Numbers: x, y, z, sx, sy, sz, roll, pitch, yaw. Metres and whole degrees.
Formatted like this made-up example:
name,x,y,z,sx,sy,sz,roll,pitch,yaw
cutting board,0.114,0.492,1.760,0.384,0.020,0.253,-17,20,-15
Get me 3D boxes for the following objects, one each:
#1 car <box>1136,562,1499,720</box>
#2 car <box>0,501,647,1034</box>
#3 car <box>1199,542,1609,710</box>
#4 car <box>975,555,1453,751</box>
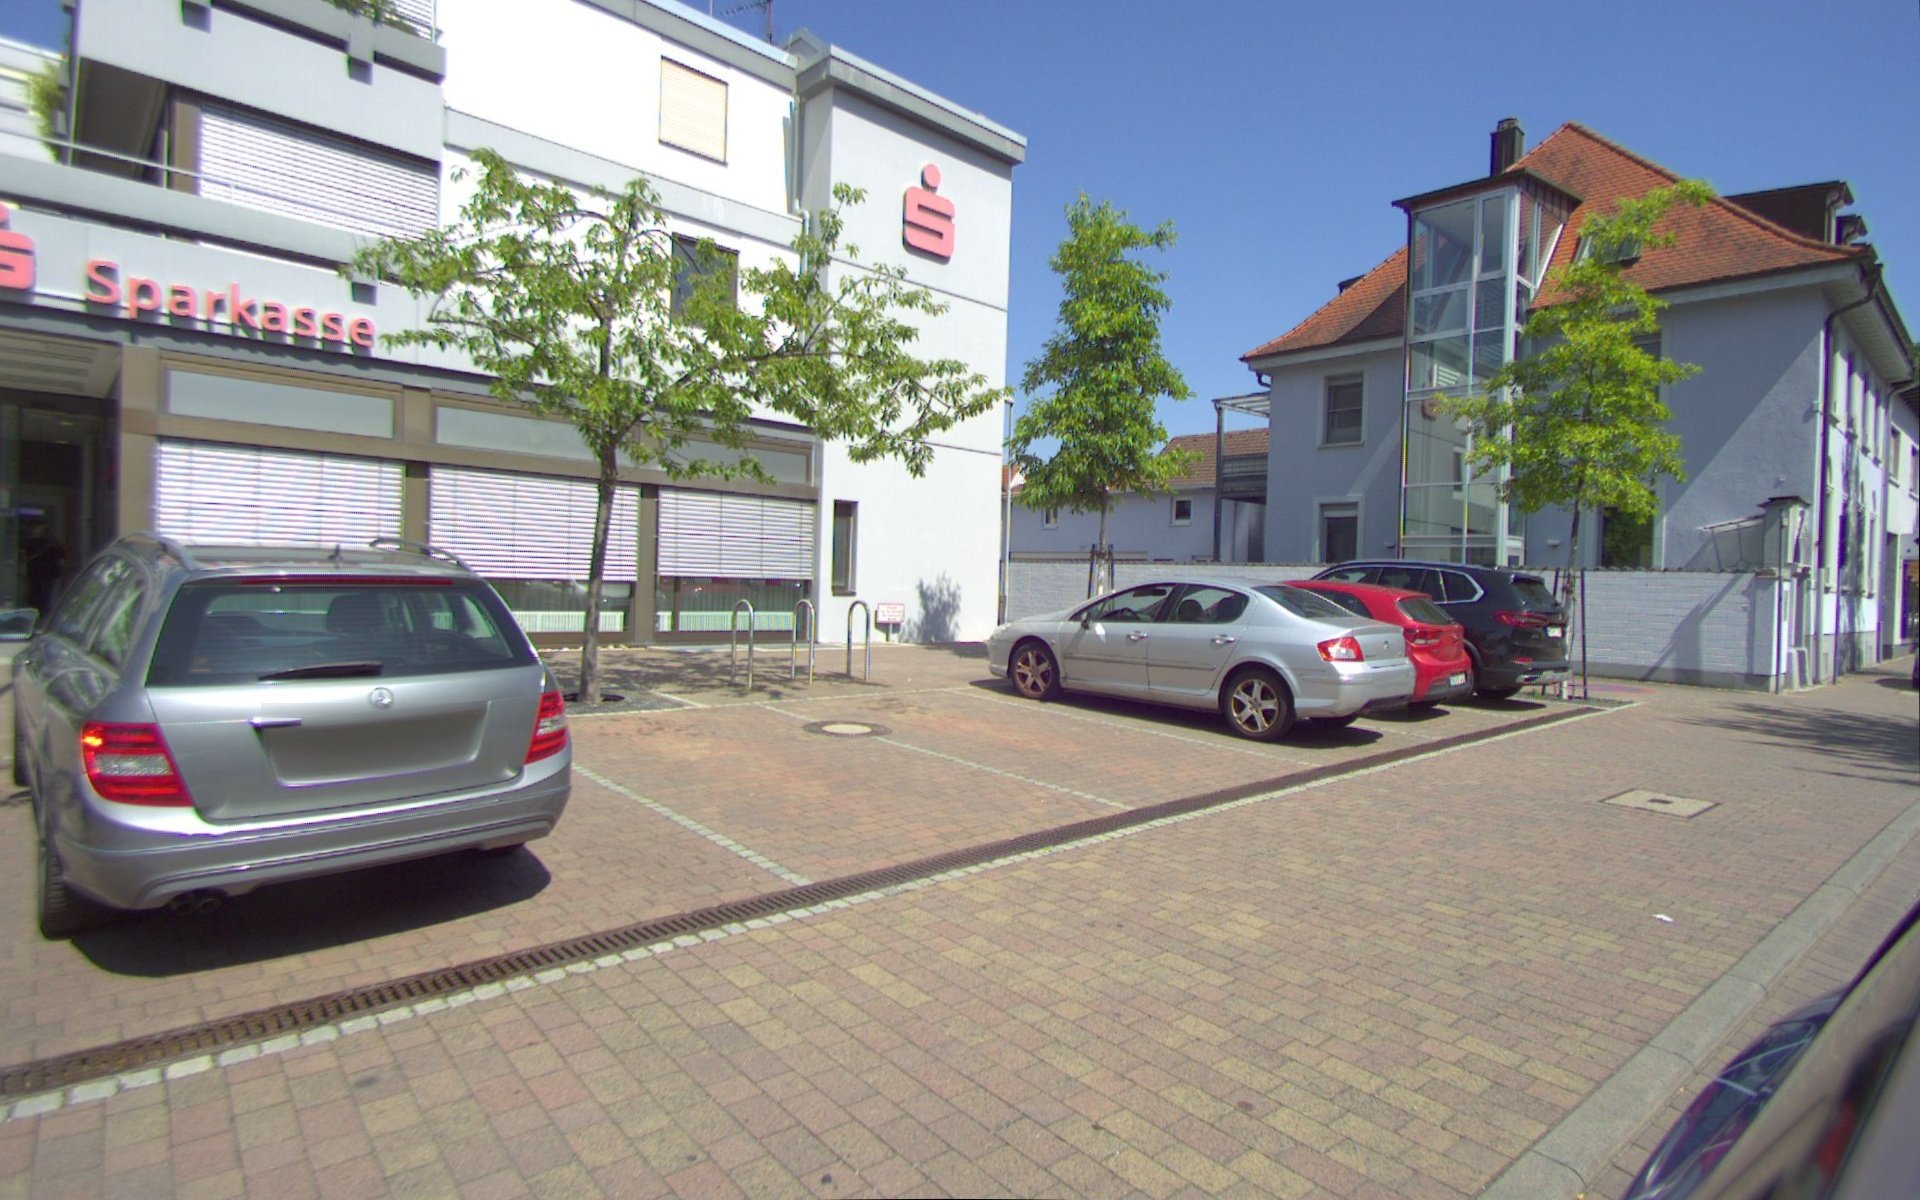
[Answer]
name,x,y,z,sx,sy,sz,roll,pitch,yaw
car,4.214,0.377,12.298,3.732,1.470,1.717,5,3,45
car,-3.606,0.323,5.174,4.579,1.531,1.886,5,4,45
car,5.899,0.217,13.918,2.111,1.792,4.639,2,3,-42
car,2.432,0.372,10.613,4.540,1.458,1.810,5,3,45
